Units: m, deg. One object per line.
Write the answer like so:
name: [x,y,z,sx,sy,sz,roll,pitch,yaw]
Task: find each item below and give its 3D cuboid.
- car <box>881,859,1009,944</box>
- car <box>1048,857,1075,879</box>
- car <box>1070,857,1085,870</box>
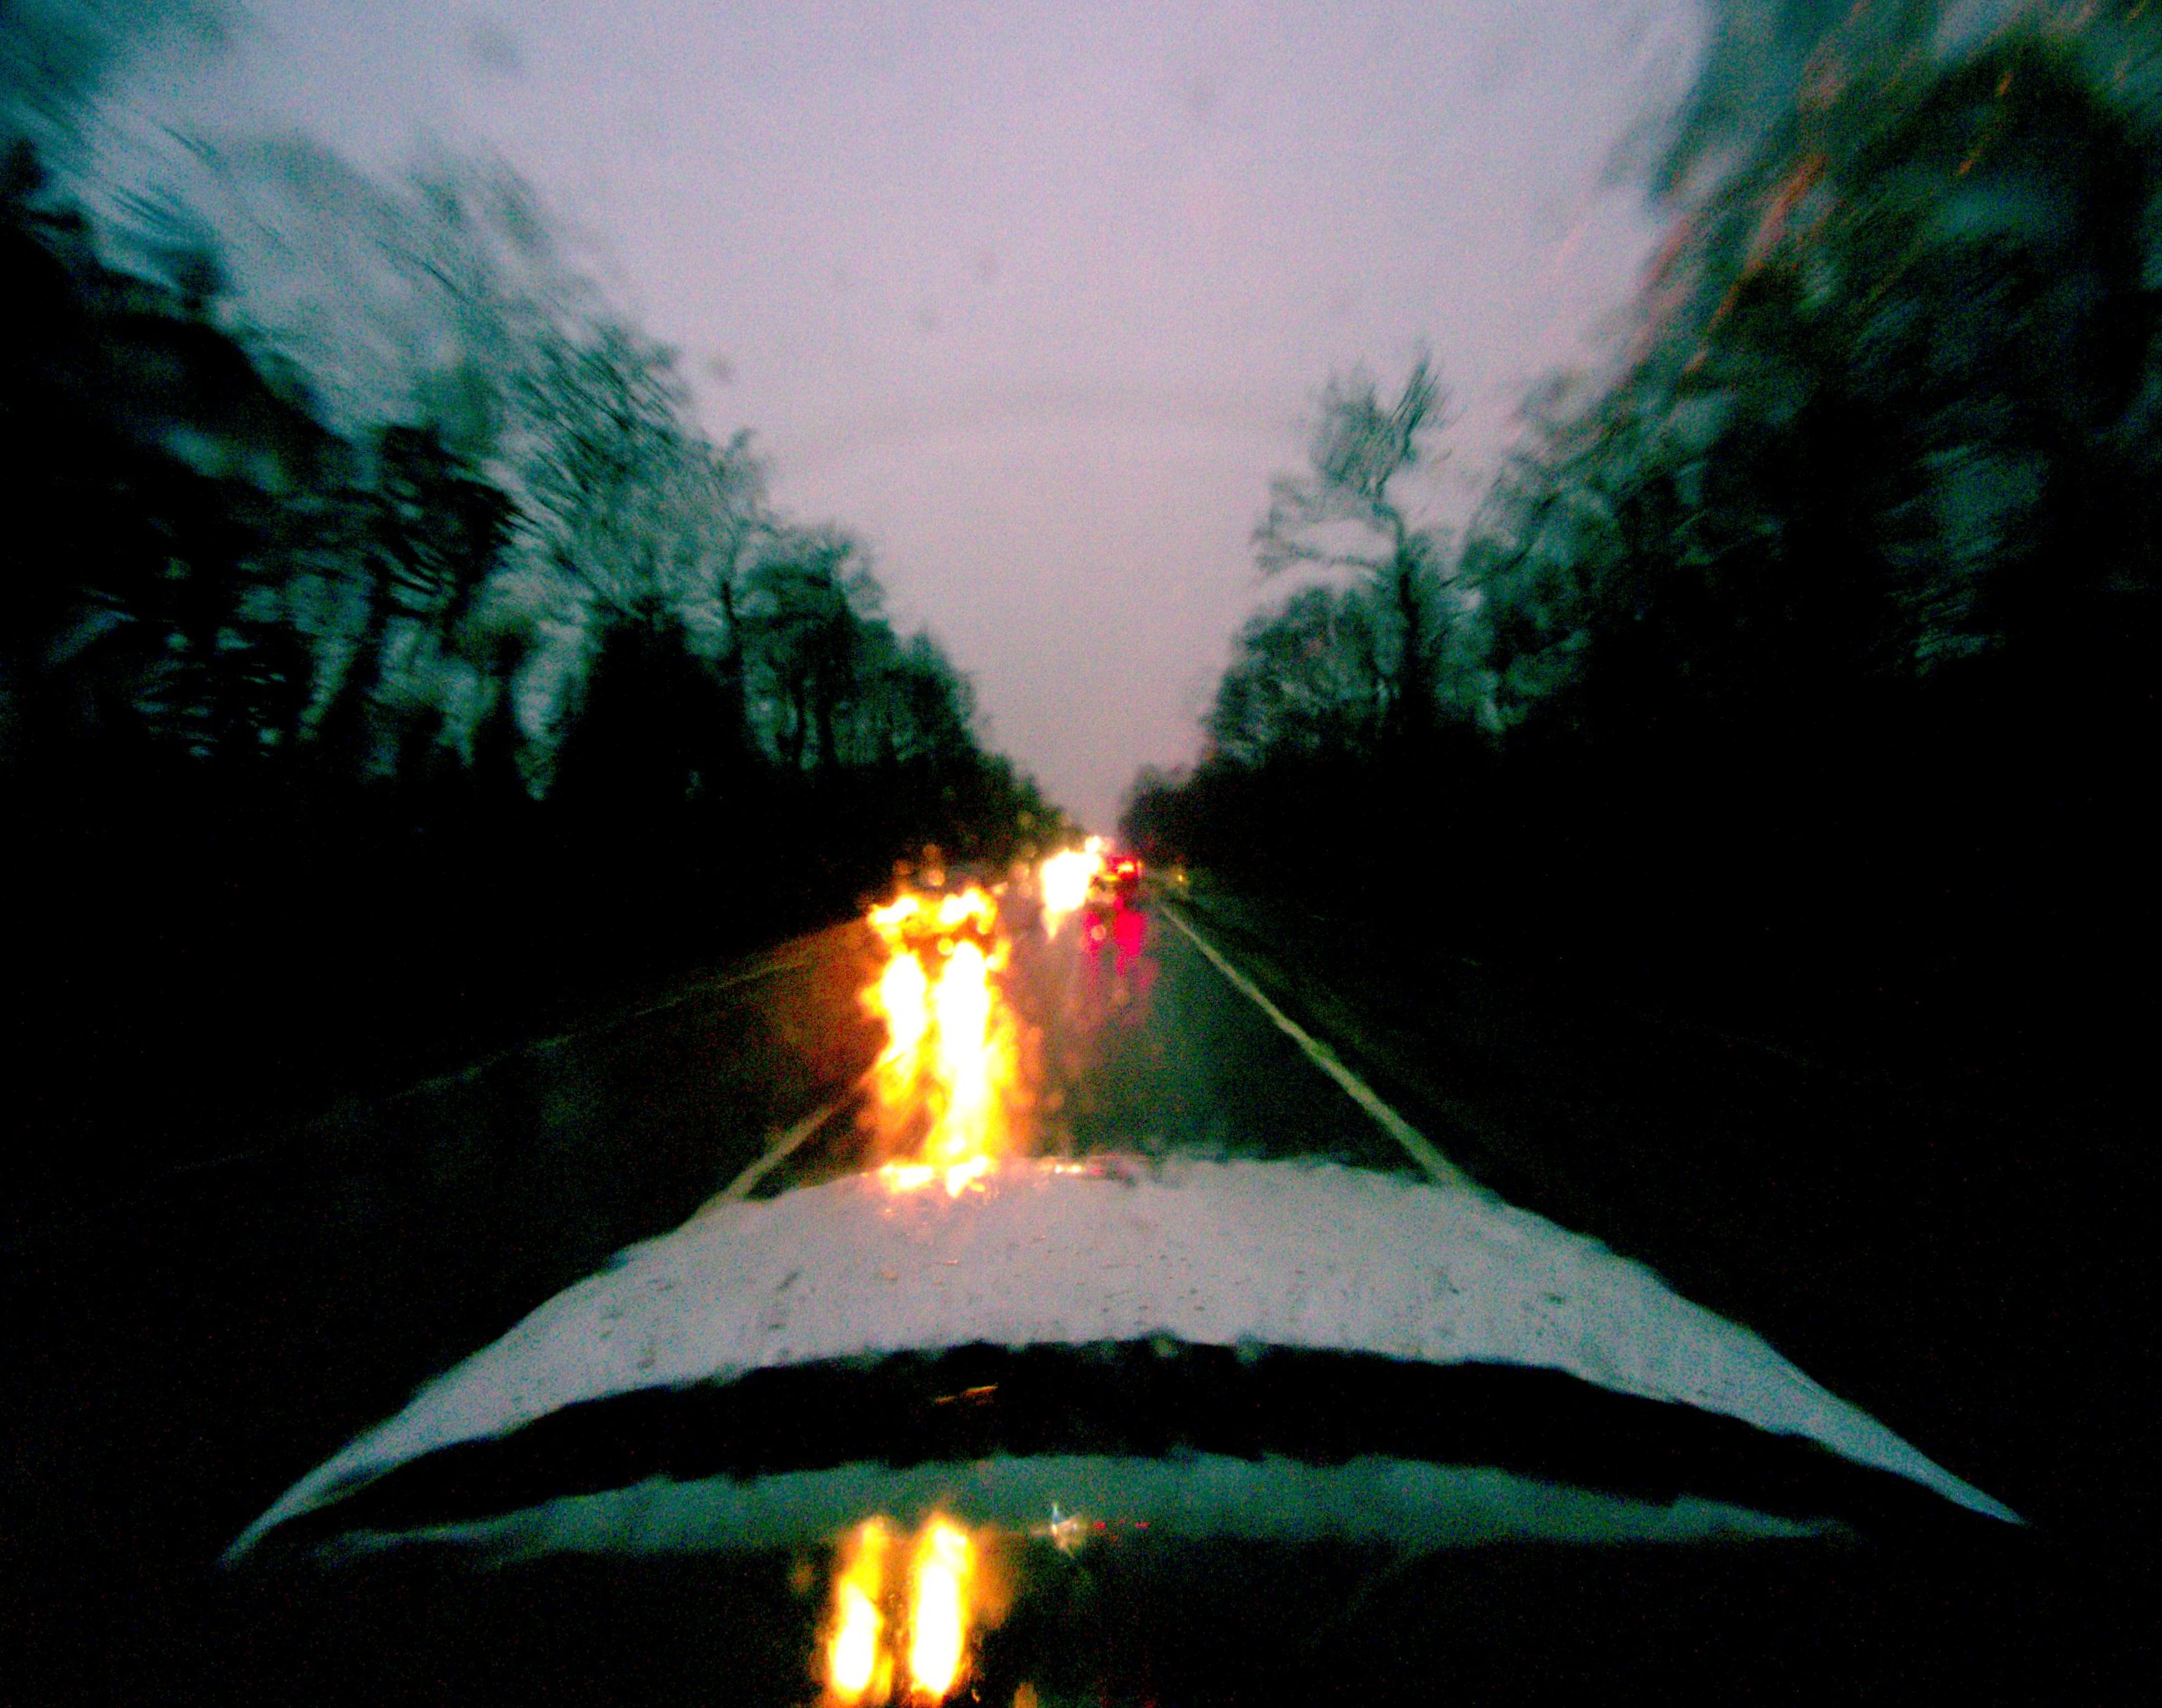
car: [-2.706,0.900,17.196,1.792,1.461,4.179,-3,0,2]
car: [-1.483,1.057,63.389,1.758,1.458,4.509,-5,0,2]
car: [-0.453,1.230,110.368,1.735,1.635,4.002,-2,0,2]
